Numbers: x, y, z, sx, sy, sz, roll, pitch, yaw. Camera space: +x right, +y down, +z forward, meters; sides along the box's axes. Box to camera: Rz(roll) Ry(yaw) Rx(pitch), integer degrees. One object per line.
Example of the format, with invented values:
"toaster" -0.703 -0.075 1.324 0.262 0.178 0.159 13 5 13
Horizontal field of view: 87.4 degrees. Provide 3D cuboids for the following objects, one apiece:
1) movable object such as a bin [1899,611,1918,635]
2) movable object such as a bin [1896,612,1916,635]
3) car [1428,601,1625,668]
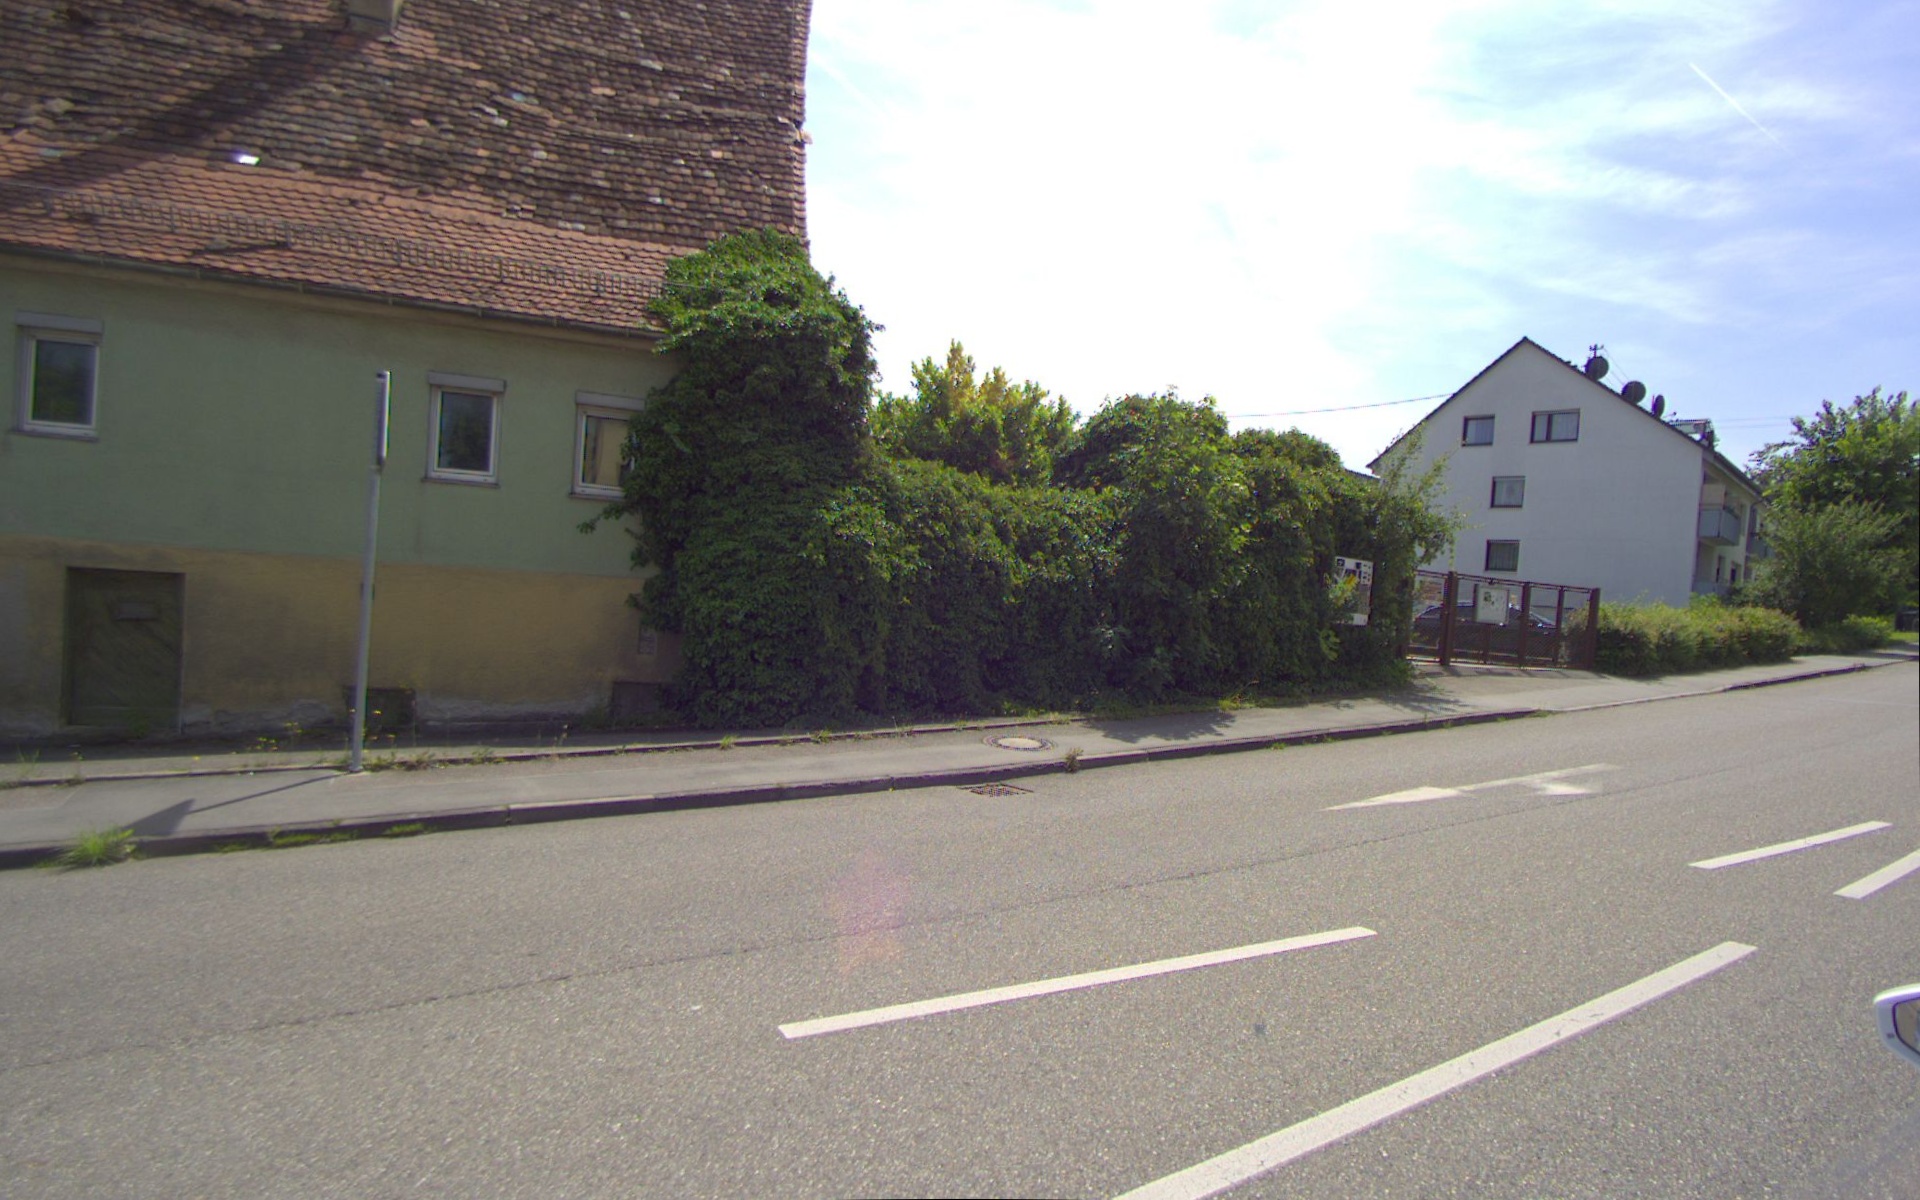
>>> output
"movable object such as a bin" 49.292 1.194 52.206 0.668 1.194 0.543 1 2 -37
"movable object such as a bin" 48.726 1.207 51.752 0.643 1.111 0.598 1 2 -35
"car" 14.368 0.824 25.599 1.986 1.406 3.948 1 2 -43
